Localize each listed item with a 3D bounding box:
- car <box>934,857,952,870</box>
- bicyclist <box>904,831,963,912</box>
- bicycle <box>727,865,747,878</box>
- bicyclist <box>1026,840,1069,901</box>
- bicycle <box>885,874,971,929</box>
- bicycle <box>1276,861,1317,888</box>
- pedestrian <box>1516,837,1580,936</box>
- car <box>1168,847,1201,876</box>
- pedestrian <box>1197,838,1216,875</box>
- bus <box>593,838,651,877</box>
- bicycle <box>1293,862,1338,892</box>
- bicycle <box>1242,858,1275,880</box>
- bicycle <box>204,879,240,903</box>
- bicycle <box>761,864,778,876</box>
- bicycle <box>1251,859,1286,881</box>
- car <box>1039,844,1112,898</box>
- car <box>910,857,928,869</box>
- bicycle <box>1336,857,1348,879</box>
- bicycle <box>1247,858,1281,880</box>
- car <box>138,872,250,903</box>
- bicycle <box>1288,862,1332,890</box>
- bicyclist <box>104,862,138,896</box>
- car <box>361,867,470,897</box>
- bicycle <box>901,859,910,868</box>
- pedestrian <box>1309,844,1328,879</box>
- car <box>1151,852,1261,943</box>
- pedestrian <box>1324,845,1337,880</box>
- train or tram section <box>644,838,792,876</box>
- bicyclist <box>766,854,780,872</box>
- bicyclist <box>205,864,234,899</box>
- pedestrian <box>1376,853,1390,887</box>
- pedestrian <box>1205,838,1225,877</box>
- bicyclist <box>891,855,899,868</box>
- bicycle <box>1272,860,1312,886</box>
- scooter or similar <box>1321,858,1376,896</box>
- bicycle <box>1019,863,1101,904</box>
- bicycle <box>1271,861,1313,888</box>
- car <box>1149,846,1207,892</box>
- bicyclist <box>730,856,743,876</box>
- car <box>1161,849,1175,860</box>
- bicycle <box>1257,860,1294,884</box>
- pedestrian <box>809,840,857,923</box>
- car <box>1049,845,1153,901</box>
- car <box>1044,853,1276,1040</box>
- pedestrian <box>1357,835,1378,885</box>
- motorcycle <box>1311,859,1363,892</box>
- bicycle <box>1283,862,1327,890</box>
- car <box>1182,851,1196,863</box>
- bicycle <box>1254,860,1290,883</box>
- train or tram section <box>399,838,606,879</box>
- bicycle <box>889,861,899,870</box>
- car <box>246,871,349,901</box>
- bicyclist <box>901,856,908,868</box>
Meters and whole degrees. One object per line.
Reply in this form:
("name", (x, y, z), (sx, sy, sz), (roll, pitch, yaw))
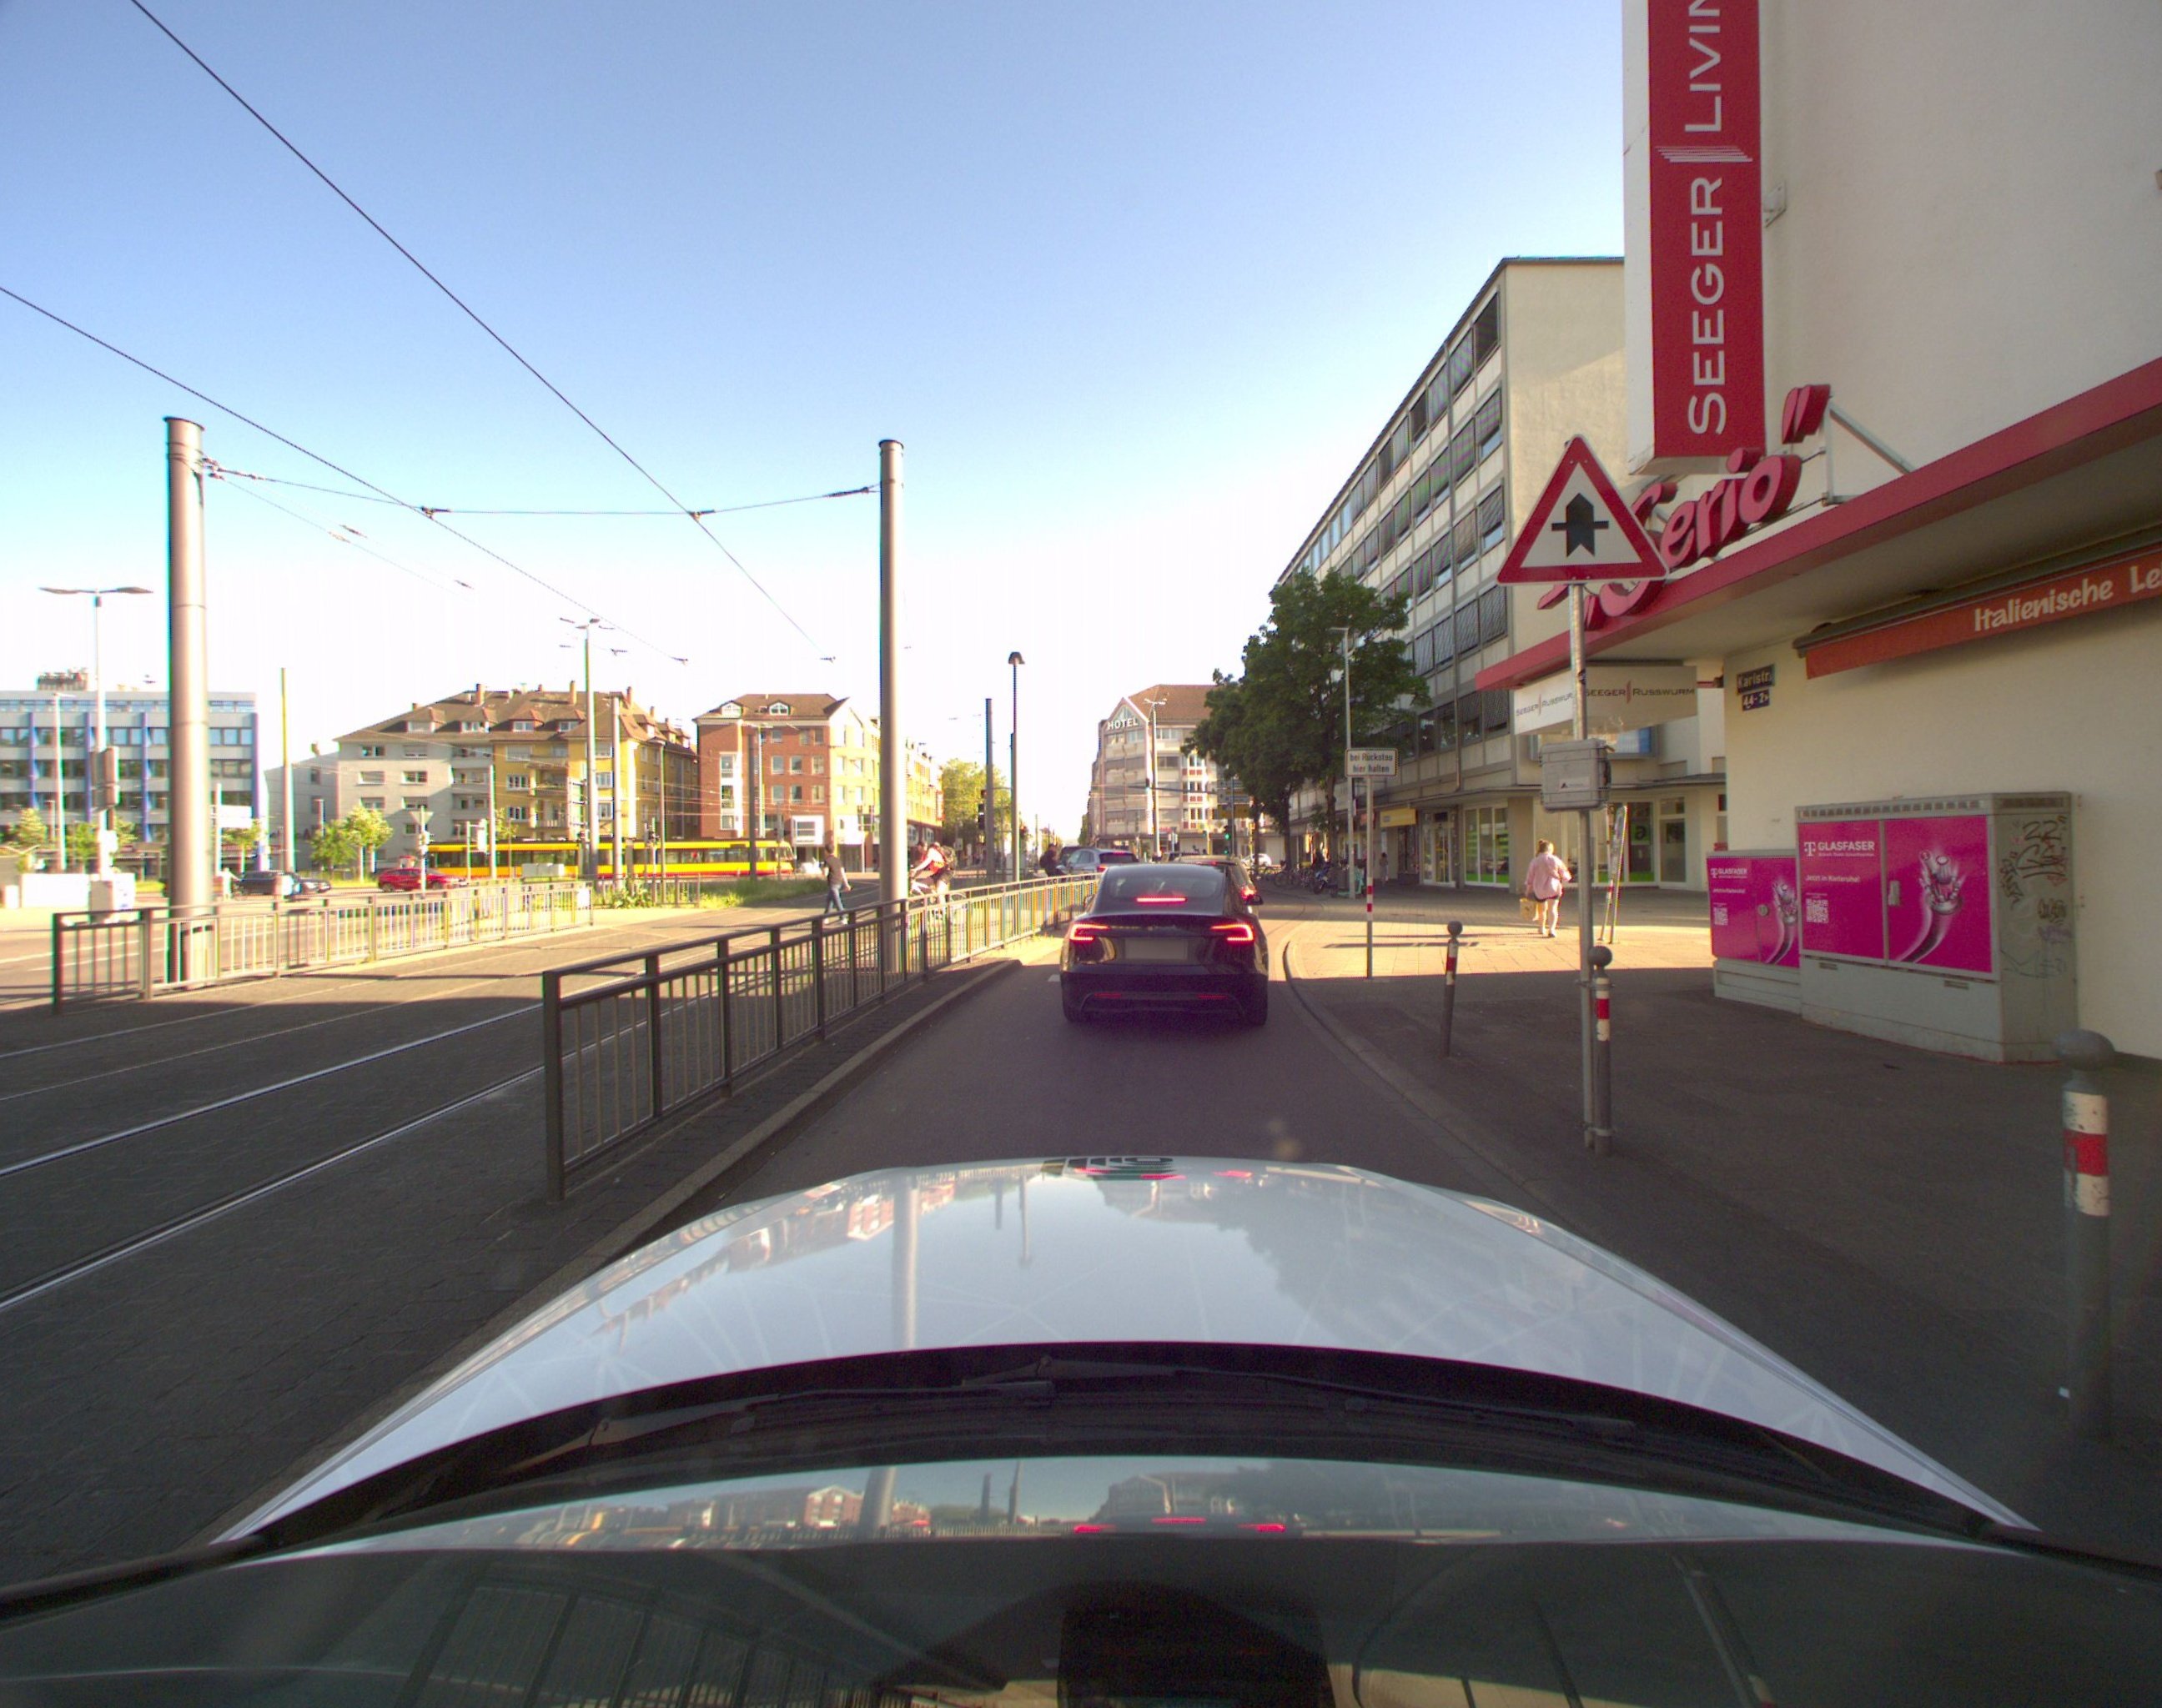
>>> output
("car", (-18.077, 1.237, 106.758), (1.692, 1.731, 3.706), (0, -1, 0))
("bicyclist", (-2.847, 0.334, 15.726), (1.048, 1.521, 0.387), (0, -1, -36))
("bicycle", (-26.019, 1.324, 61.615), (0.445, 0.972, 2.247), (0, -1, 2))
("bicyclist", (-0.911, 0.450, 22.293), (0.763, 1.628, 0.967), (0, -1, -37))
("bicycle", (-2.927, 0.894, 15.653), (1.610, 0.994, 0.399), (0, -1, -37))
("bicycle", (8.979, 0.847, 34.005), (1.649, 1.099, 0.349), (0, -1, -9))
("pedestrian", (8.098, 0.547, 14.165), (0.881, 1.667, 0.813), (-1, -1, 25))
("car", (6.483, 0.477, 51.229), (1.713, 1.751, 3.755), (0, -1, 2))
("pedestrian", (6.931, 0.154, 45.149), (0.917, 2.014, 0.973), (0, -1, 1))
("bus", (-37.357, 0.263, 66.426), (3.523, 3.131, 2.756), (0, -1, -16))
("bicycle", (8.896, 0.858, 30.936), (1.649, 1.099, 0.349), (0, -1, -9))
("bicycle", (9.246, 0.789, 42.391), (1.643, 1.099, 0.350), (0, -1, 3))
("bicycle", (-44.626, 1.897, 42.300), (1.835, 1.222, 0.487), (-1, -1, 15))
("bicycle", (-25.948, 1.286, 67.840), (0.522, 0.972, 2.247), (0, -1, 2))
("bicycle", (9.282, 0.796, 40.249), (1.643, 1.099, 0.350), (0, -1, 3))
("car", (-0.286, 0.664, 32.755), (1.997, 2.014, 3.980), (-1, 0, -15))
("car", (-20.549, 1.141, 103.378), (1.706, 1.527, 4.032), (0, -1, -3))
("bicycle", (12.654, 0.687, 39.504), (0.330, 1.034, 1.258), (0, -1, 6))
("bicycle", (9.265, 0.759, 41.296), (1.643, 1.099, 0.350), (-1, 0, 3))
("car", (-50.621, 1.875, 46.562), (3.952, 1.685, 1.903), (0, -1, -11))
("bicycle", (8.818, 0.854, 31.360), (1.649, 1.061, 0.349), (0, -1, -9))
("bicyclist", (-52.415, 1.351, 44.467), (0.900, 1.808, 0.788), (0, -1, -10))
("car", (-39.454, 1.650, 48.374), (4.585, 1.700, 1.993), (0, -1, -10))
("bicycle", (-22.403, 1.252, 103.821), (0.527, 1.088, 2.286), (-1, 0, 4))
("pedestrian", (11.587, 0.370, 39.683), (0.697, 1.662, 0.777), (0, -1, 1))
("car", (2.292, 0.693, 15.072), (1.741, 1.454, 4.009), (-1, 0, 8))
("pedestrian", (12.262, 0.426, 39.978), (0.523, 1.710, 0.404), (0, -1, 6))
("train or tram section", (-30.434, 0.232, 68.943), (11.272, 3.131, 2.785), (0, -1, -21))
("bicyclist", (-25.893, 0.746, 68.439), (0.895, 1.503, 0.696), (0, -1, 1))
("bicyclist", (-44.769, 1.420, 42.328), (0.745, 1.759, 0.762), (-1, -1, 15))
("pedestrian", (12.267, 0.645, 33.066), (0.388, 1.343, 0.513), (0, -1, 4))
("pedestrian", (7.004, 0.181, 42.706), (0.917, 2.014, 0.973), (0, -1, 1))
("bicyclist", (-22.586, 0.956, 98.719), (0.780, 1.563, 0.747), (0, -1, 4))
("bicycle", (9.120, 0.816, 35.256), (1.643, 1.099, 0.350), (0, -1, 3))
("scooter or similar", (8.899, 0.763, 27.097), (1.625, 1.215, 0.649), (-1, -1, 32))
("bicycle", (-0.562, 0.789, 22.564), (2.346, 1.053, 0.624), (0, -1, -36))
("bicycle", (8.618, 0.845, 33.318), (1.649, 1.099, 0.349), (0, -1, -9))
("car", (3.942, 0.584, 33.596), (1.595, 1.778, 3.974), (0, -1, -5))
("bicyclist", (-26.025, 0.913, 61.558), (0.631, 1.503, 0.696), (0, -1, 1))
("car", (8.243, 0.051, 77.383), (0.914, 1.100, 1.876), (-1, -1, 18))
("bicycle", (9.142, 0.835, 38.210), (1.643, 1.099, 0.350), (0, -1, 3))
("pedestrian", (-5.171, 0.561, 17.014), (0.585, 1.681, 0.779), (-1, -1, 28))
("car", (0.566, 0.586, 26.592), (1.891, 1.662, 4.126), (0, -1, -23))
("car", (0.855, 0.745, 8.456), (1.820, 1.455, 4.007), (0, -1, 7))
("pedestrian", (11.685, 0.236, 33.246), (0.659, 2.014, 0.580), (0, -1, 4))
("motorcycle", (9.145, 0.767, 29.167), (1.701, 1.173, 0.541), (0, -1, 0))
("bicycle", (8.732, 0.858, 31.786), (1.649, 1.099, 0.349), (0, -1, -9))
("car", (10.572, 0.306, 79.658), (0.914, 1.099, 1.876), (-3, -1, 18))
("bicycle", (9.206, 0.839, 39.236), (1.643, 1.099, 0.350), (0, -1, 3))
("train or tram section", (-45.933, 0.317, 65.090), (13.664, 3.131, 2.726), (0, -1, -8))
("bicycle", (-22.612, 1.342, 98.349), (0.535, 1.088, 2.227), (0, -1, 4))
("car", (-45.492, 1.835, 47.379), (3.984, 1.672, 1.772), (0, -1, -8))
("bicyclist", (-22.416, 1.015, 103.427), (0.780, 1.563, 0.747), (-1, 0, 3))
